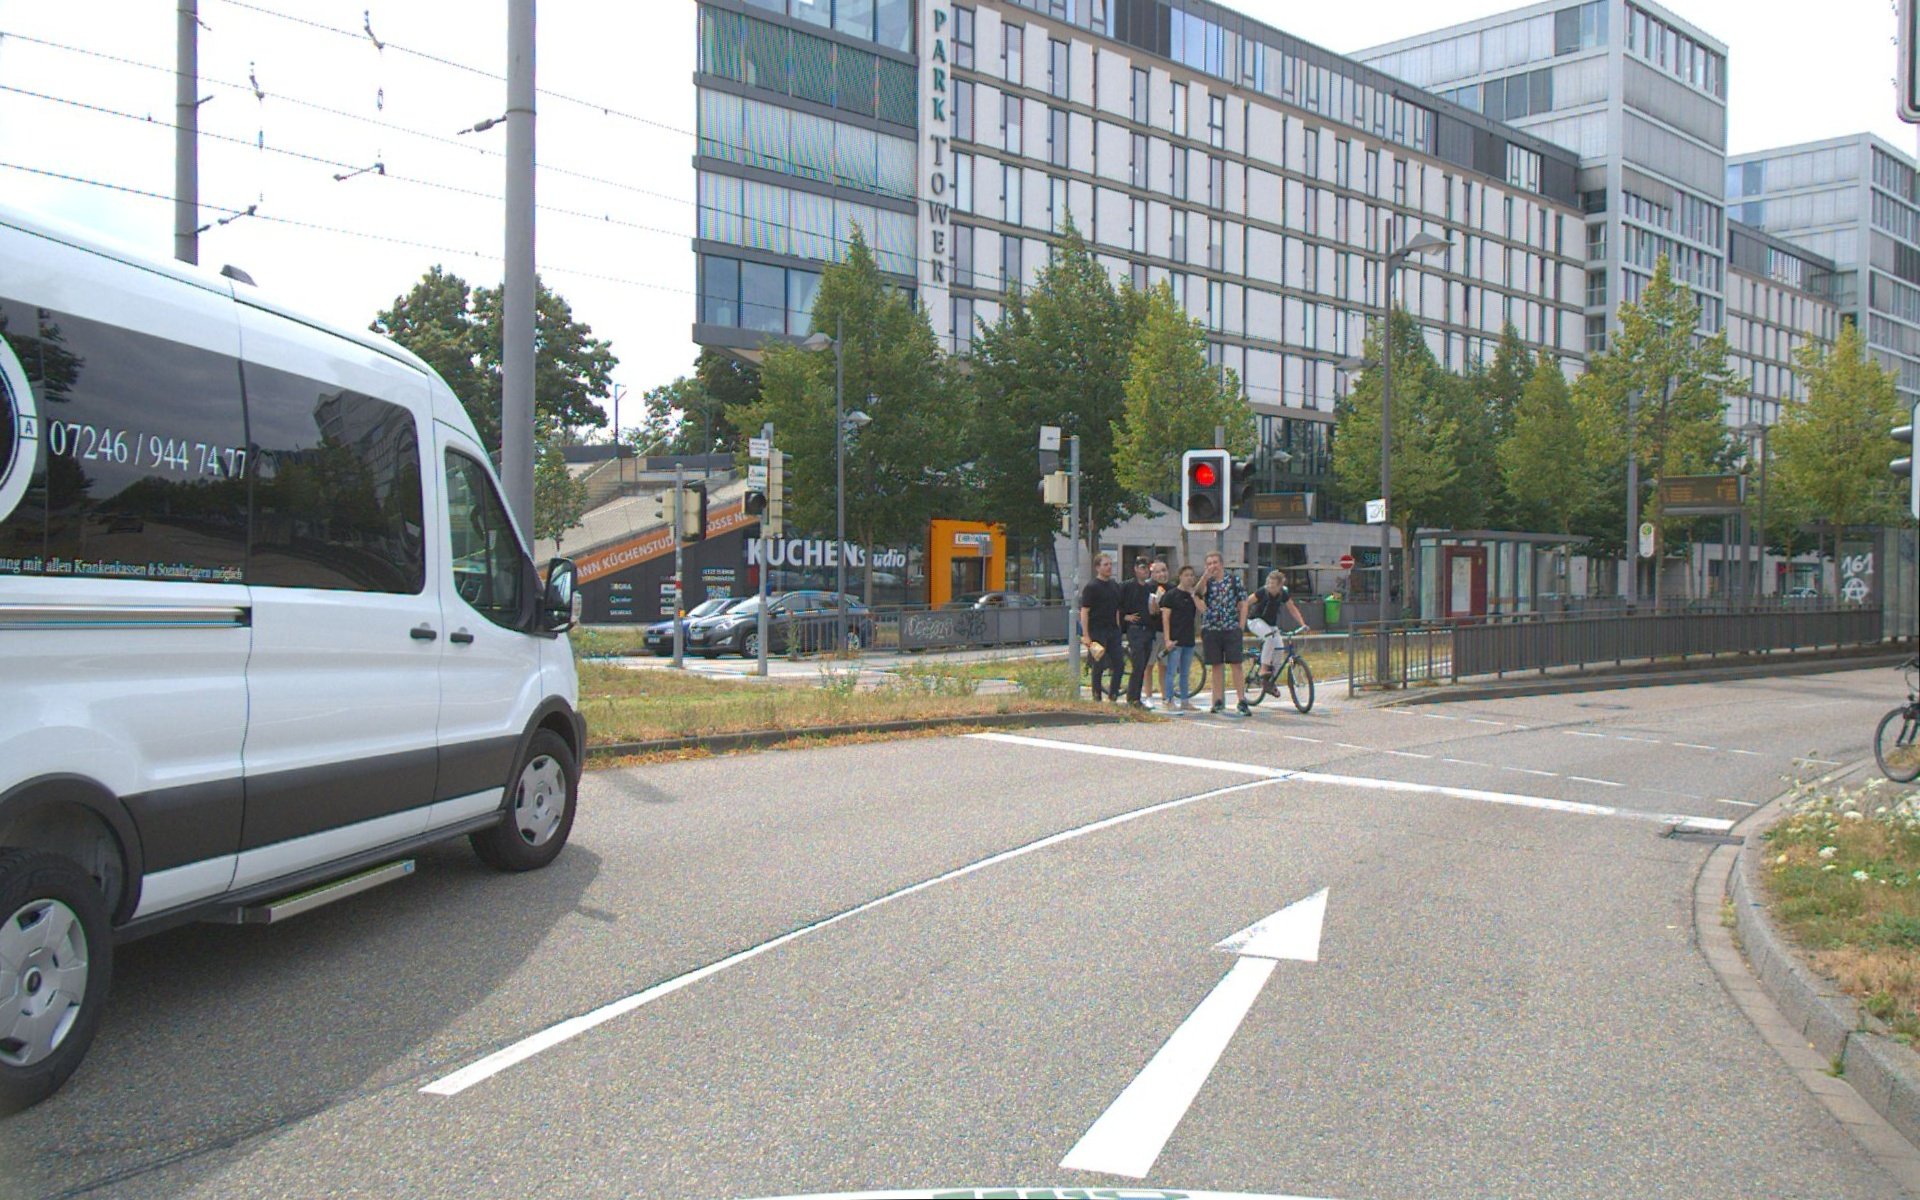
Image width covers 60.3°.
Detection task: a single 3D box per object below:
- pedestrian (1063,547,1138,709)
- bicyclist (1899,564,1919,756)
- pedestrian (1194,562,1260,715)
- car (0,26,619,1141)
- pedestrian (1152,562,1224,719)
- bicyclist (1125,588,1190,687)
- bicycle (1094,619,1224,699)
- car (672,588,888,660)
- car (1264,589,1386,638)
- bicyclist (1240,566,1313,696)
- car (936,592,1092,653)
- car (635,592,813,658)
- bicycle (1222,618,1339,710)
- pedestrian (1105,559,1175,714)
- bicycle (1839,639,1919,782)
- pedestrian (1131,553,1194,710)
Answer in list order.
[{"bbox_3d":[1.617,0.312,19.046,0.543,1.812,0.686,1,0,40],"label":"pedestrian"},{"bbox_3d":[8.696,0.519,14.025,0.776,1.655,1.045,0,0,-15],"label":"bicyclist"},{"bbox_3d":[3.228,0.455,19.969,0.543,1.812,0.577,1,0,40],"label":"pedestrian"},{"bbox_3d":[-3.177,-0.056,6.114,2.081,2.744,5.636,0,0,6],"label":"car"},{"bbox_3d":[2.690,0.465,19.486,0.543,1.812,0.686,1,0,40],"label":"pedestrian"},{"bbox_3d":[2.753,0.511,23.061,0.662,1.340,0.637,1,0,38],"label":"bicyclist"},{"bbox_3d":[2.762,0.807,23.039,1.723,1.024,0.651,1,0,39],"label":"bicycle"},{"bbox_3d":[-3.989,0.519,37.165,4.699,1.483,1.820,0,1,-43],"label":"car"},{"bbox_3d":[11.546,0.413,52.167,3.966,1.483,1.820,0,1,-42],"label":"car"},{"bbox_3d":[4.006,0.380,20.967,0.552,1.608,0.759,1,0,-26],"label":"bicyclist"},{"bbox_3d":[1.444,0.568,43.273,3.966,1.483,1.820,0,1,-42],"label":"car"},{"bbox_3d":[-5.690,0.586,40.094,3.967,1.483,1.820,0,1,-43],"label":"car"},{"bbox_3d":[4.034,0.788,20.910,0.540,1.077,1.699,1,0,-25],"label":"bicycle"},{"bbox_3d":[2.153,0.427,19.761,0.543,1.812,0.630,1,0,40],"label":"pedestrian"},{"bbox_3d":[8.647,0.971,14.201,0.776,1.188,2.033,0,1,-15],"label":"bicycle"},{"bbox_3d":[2.490,0.374,20.292,0.543,1.894,0.528,1,0,41],"label":"pedestrian"}]
